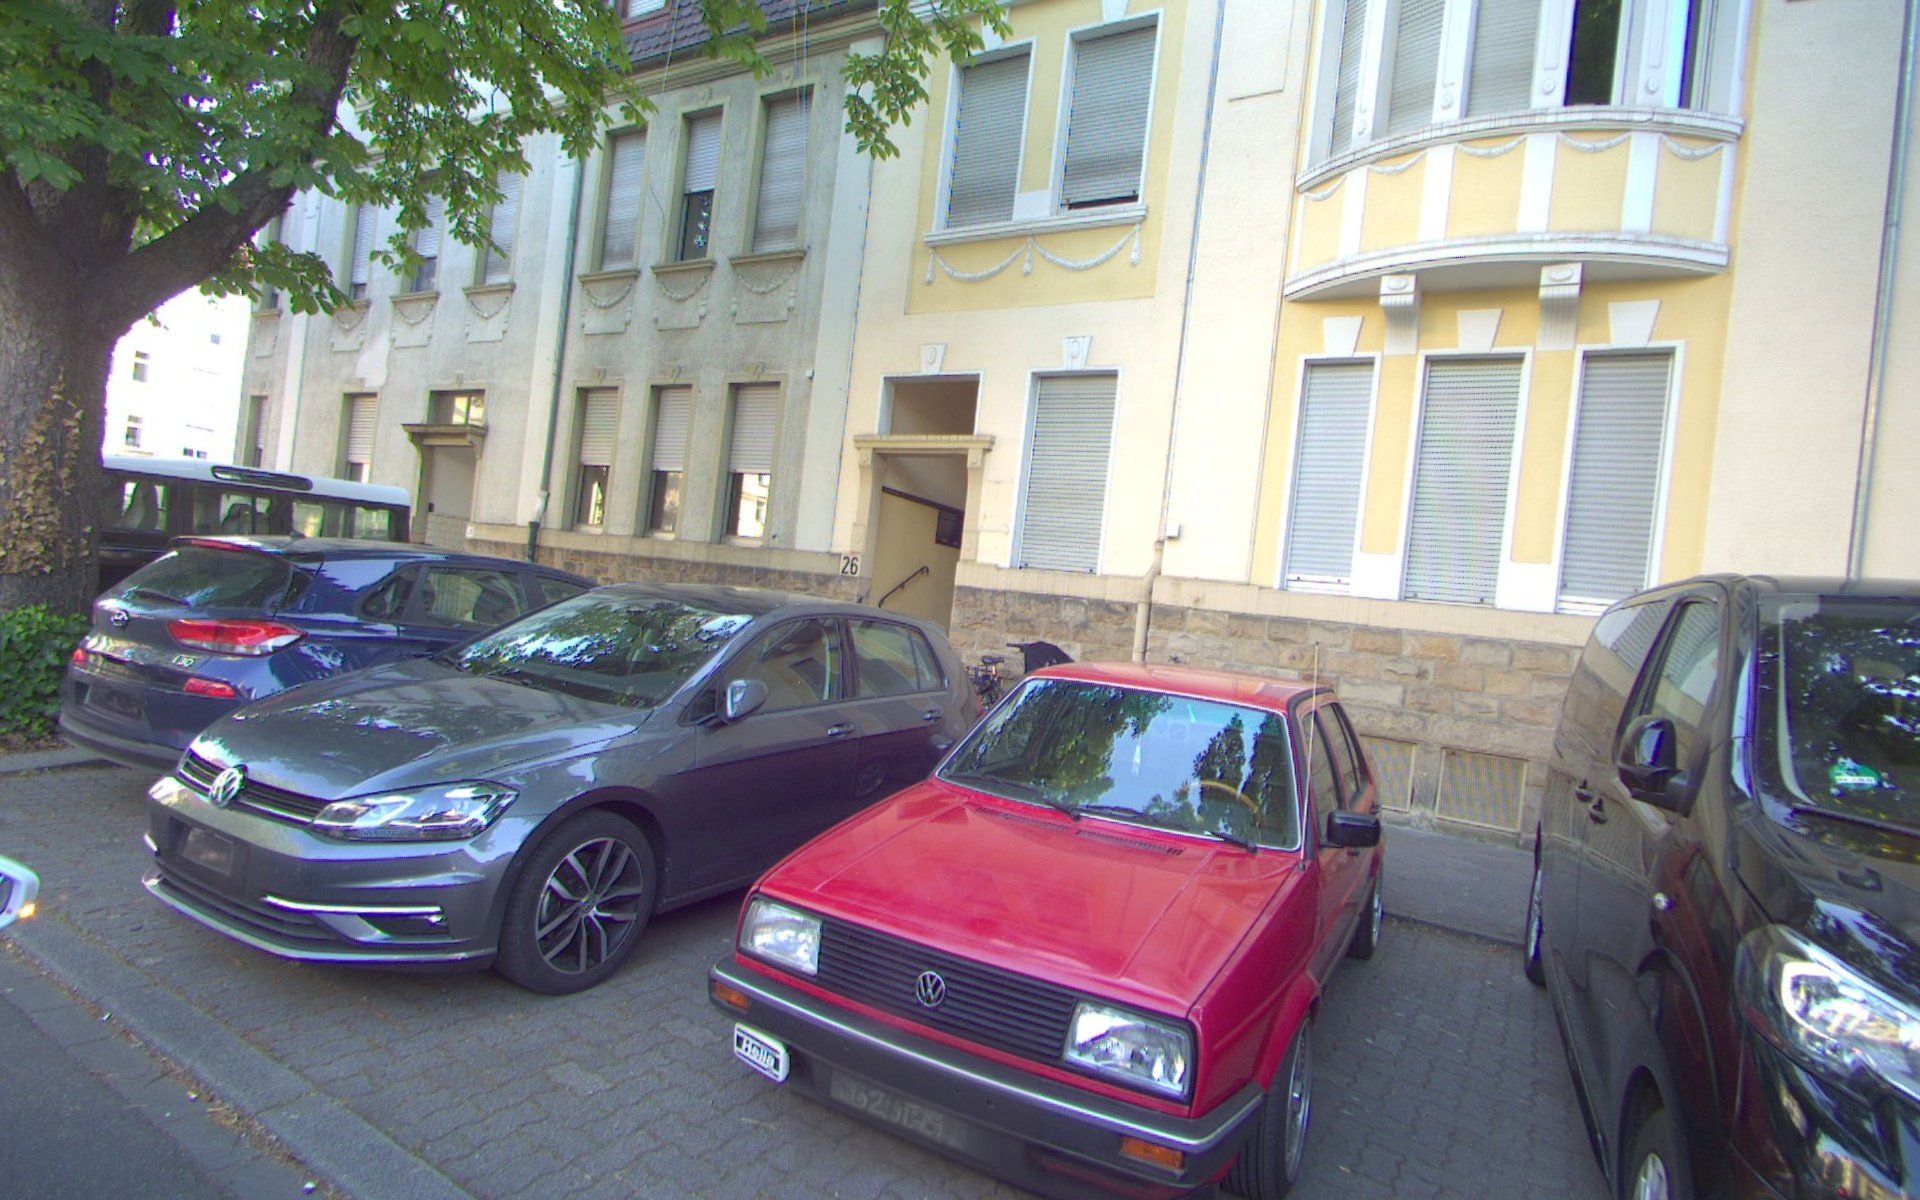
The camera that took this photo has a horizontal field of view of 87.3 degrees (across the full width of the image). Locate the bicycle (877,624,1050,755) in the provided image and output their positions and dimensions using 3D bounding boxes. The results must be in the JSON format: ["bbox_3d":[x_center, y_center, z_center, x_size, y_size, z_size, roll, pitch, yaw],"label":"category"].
[{"bbox_3d":[0.019,0.886,10.382,1.675,1.090,0.500,7,2,31],"label":"bicycle"}]

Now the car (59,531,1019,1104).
[{"bbox_3d":[-1.362,0.646,4.818,1.600,1.440,4.054,6,0,29],"label":"car"}]

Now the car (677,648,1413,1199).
[{"bbox_3d":[0.843,0.959,4.225,1.532,1.337,3.916,6,0,29],"label":"car"}]

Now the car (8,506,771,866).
[{"bbox_3d":[-3.051,0.413,6.211,1.600,1.440,3.754,6,0,29],"label":"car"}]

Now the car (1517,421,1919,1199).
[{"bbox_3d":[2.890,0.896,2.944,1.848,1.847,4.829,6,0,27],"label":"car"}]

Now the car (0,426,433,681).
[{"bbox_3d":[-7.609,-0.382,9.309,1.762,1.981,4.496,7,1,29],"label":"car"}]

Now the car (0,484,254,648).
[{"bbox_3d":[-10.027,-0.396,10.844,1.680,1.606,3.488,7,0,25],"label":"car"}]

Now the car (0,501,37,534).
[{"bbox_3d":[-36.182,-3.214,36.708,1.357,1.081,3.370,7,-1,30],"label":"car"}]
